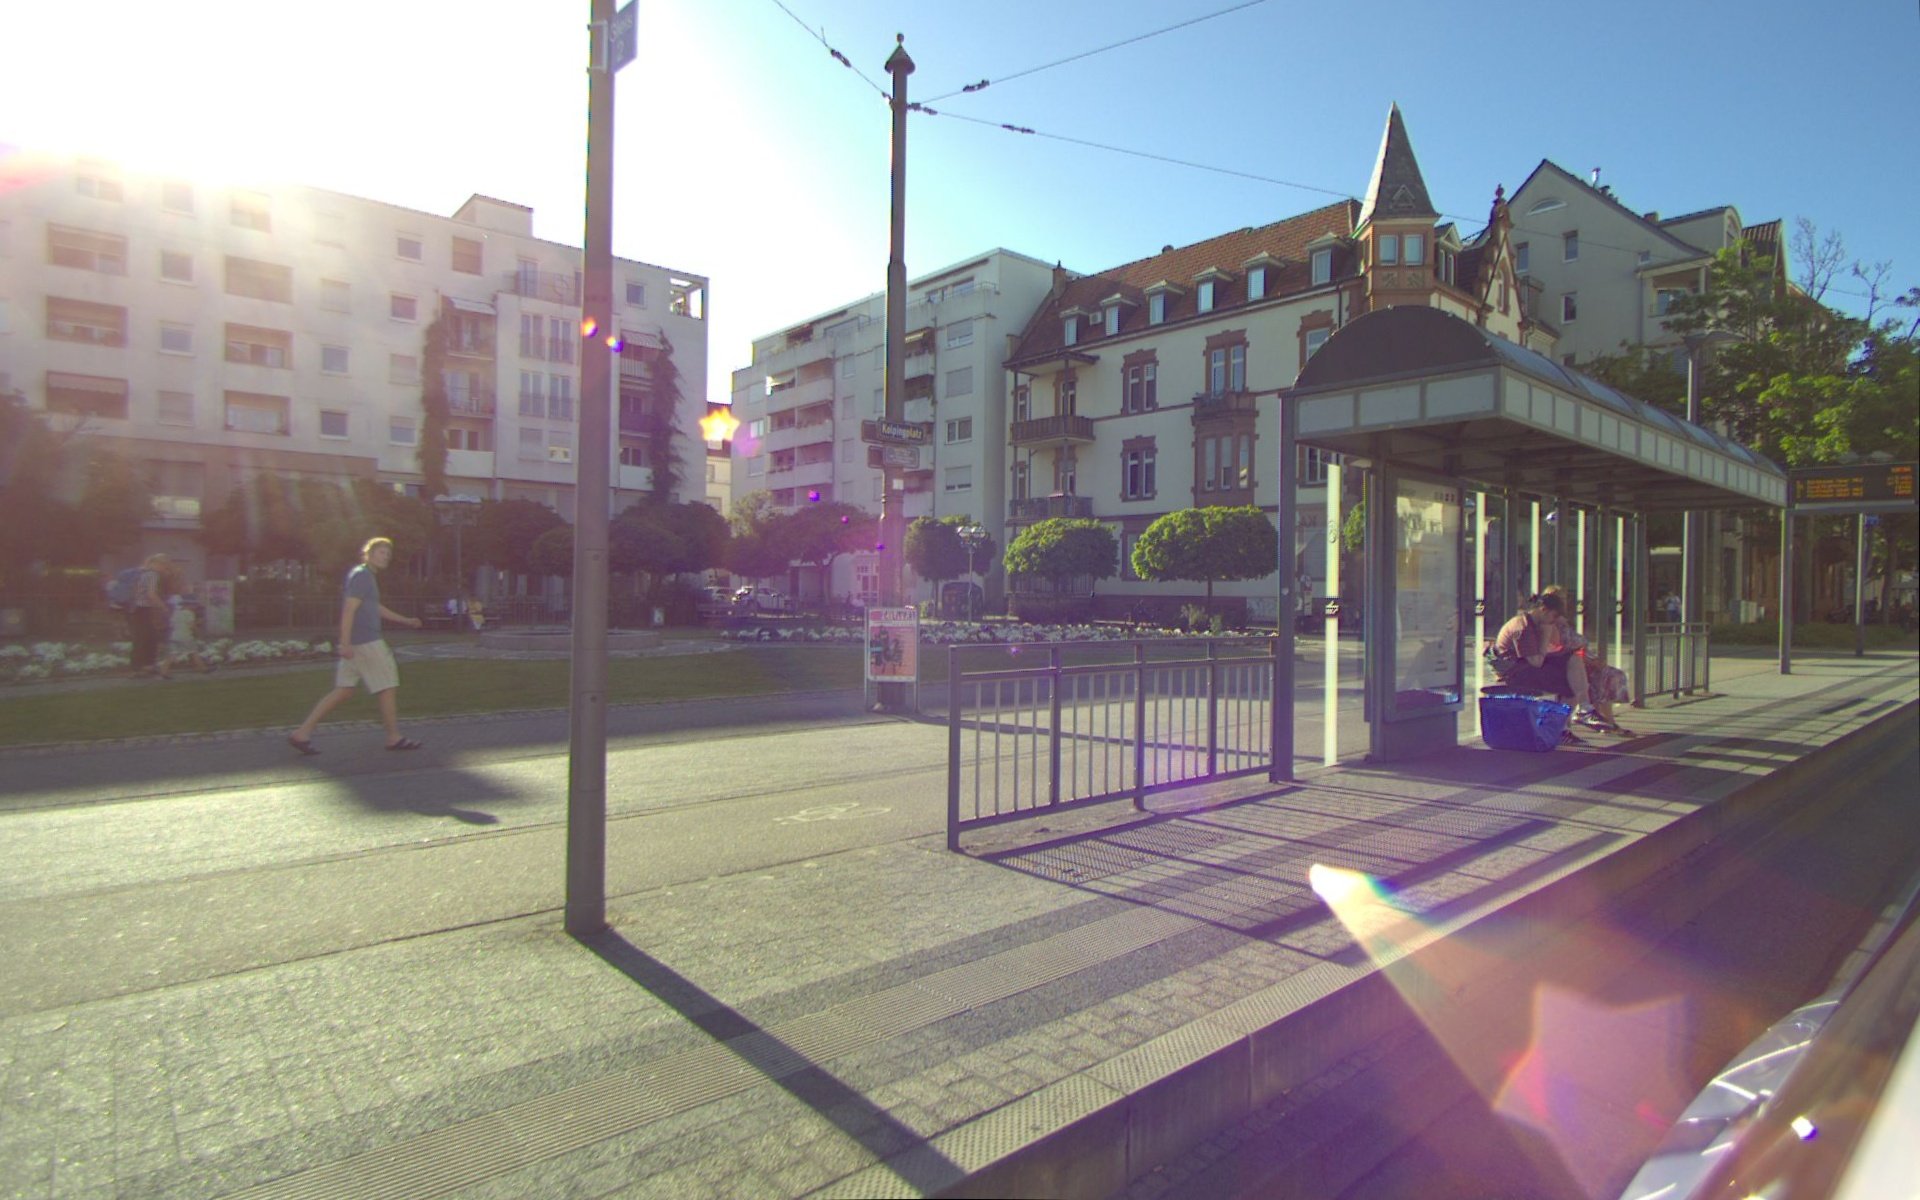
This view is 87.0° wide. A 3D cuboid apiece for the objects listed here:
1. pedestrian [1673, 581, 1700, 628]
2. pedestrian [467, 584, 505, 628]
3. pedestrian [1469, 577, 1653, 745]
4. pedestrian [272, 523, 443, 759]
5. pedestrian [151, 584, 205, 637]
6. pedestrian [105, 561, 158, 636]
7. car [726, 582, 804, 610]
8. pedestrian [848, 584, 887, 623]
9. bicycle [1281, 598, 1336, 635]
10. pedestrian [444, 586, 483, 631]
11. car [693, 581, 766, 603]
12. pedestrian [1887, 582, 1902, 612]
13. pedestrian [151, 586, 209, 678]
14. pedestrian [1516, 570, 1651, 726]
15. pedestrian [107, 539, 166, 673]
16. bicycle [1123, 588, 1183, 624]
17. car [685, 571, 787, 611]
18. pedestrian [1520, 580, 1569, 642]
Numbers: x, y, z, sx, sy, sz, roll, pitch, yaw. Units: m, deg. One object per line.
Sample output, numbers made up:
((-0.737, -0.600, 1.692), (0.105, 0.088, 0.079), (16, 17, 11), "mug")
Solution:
((27.690, 0.169, 38.581), (0.740, 1.757, 0.864), (1, 0, 43), "pedestrian")
((-14.139, 0.179, 30.190), (0.738, 1.287, 0.725), (1, 0, 29), "pedestrian")
((4.850, 0.464, 8.188), (0.907, 1.241, 1.000), (0, -2, -40), "pedestrian")
((-5.287, 0.311, 8.883), (1.110, 1.901, 0.982), (-1, 1, -42), "pedestrian")
((-19.558, 0.251, 25.308), (1.032, 1.287, 0.725), (1, 0, 30), "pedestrian")
((-19.767, -0.046, 24.143), (1.018, 1.746, 0.667), (1, 0, 30), "pedestrian")
((-11.090, -0.254, 57.667), (3.923, 1.536, 2.001), (0, 1, -34), "car")
((-3.560, 0.127, 38.781), (0.917, 1.429, 1.529), (0, 1, -30), "pedestrian")
((11.529, 0.516, 33.421), (0.787, 1.081, 2.767), (1, 2, 40), "bicycle")
((-14.501, 0.236, 29.561), (0.738, 1.287, 0.725), (1, 0, 29), "pedestrian")
((-14.044, -0.507, 61.714), (3.923, 1.304, 2.001), (0, 1, -34), "car")
((63.238, -0.209, 68.458), (0.549, 2.039, 0.654), (0, 0, -38), "pedestrian")
((-10.335, 0.406, 13.417), (0.546, 1.183, 0.471), (-1, 0, -32), "pedestrian")
((5.721, 0.430, 9.301), (0.612, 1.351, 0.860), (0, -2, -40), "pedestrian")
((-11.131, 0.071, 13.690), (0.516, 1.767, 0.560), (0, 0, -30), "pedestrian")
((7.725, 0.232, 40.357), (2.863, 1.389, 0.745), (0, 1, -41), "bicycle")
((-15.212, -0.608, 68.939), (2.807, 2.587, 6.294), (1, 1, 45), "car")
((16.370, 0.302, 28.351), (1.064, 1.689, 0.944), (1, 0, 37), "pedestrian")
